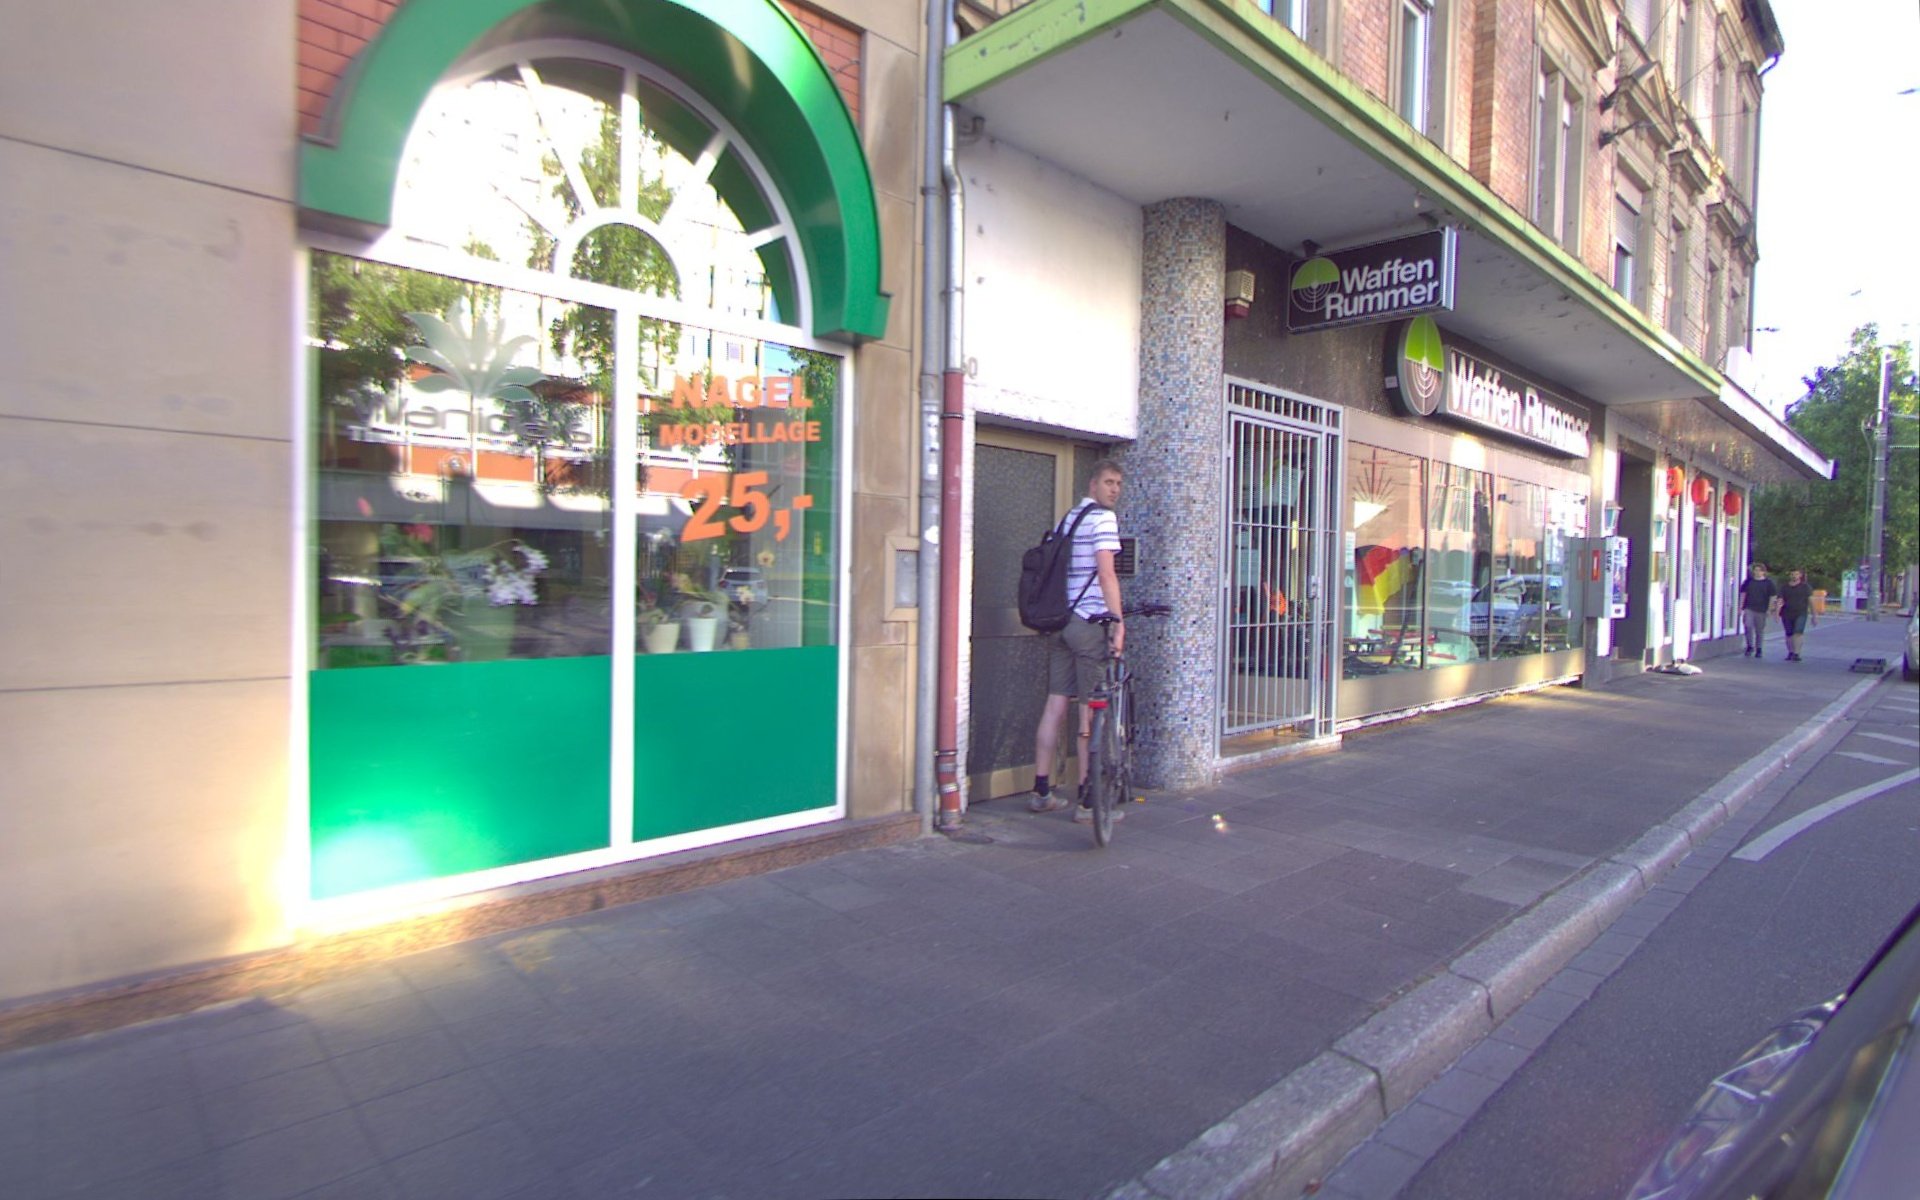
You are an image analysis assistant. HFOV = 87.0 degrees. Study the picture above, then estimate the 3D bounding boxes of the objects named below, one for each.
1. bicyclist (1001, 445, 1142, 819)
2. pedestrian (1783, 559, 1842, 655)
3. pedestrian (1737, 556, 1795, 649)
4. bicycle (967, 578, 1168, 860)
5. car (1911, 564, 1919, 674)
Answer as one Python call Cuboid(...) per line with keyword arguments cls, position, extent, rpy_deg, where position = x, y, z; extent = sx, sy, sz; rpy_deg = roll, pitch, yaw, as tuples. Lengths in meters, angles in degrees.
Cuboid(cls="bicyclist", position=(0.630, 0.150, 5.601), extent=(0.592, 1.905, 0.739), rpy_deg=(1, 1, 21))
Cuboid(cls="pedestrian", position=(15.981, 0.113, 18.975), extent=(0.494, 1.744, 0.700), rpy_deg=(0, 3, -42))
Cuboid(cls="pedestrian", position=(15.665, 0.035, 19.670), extent=(0.669, 1.744, 0.700), rpy_deg=(0, 3, -42))
Cuboid(cls="bicycle", position=(0.672, 0.522, 5.611), extent=(0.660, 1.269, 1.883), rpy_deg=(1, 2, 20))
Cuboid(cls="car", position=(16.857, 0.288, 16.422), extent=(3.930, 1.705, 1.670), rpy_deg=(-1, 2, -41))
